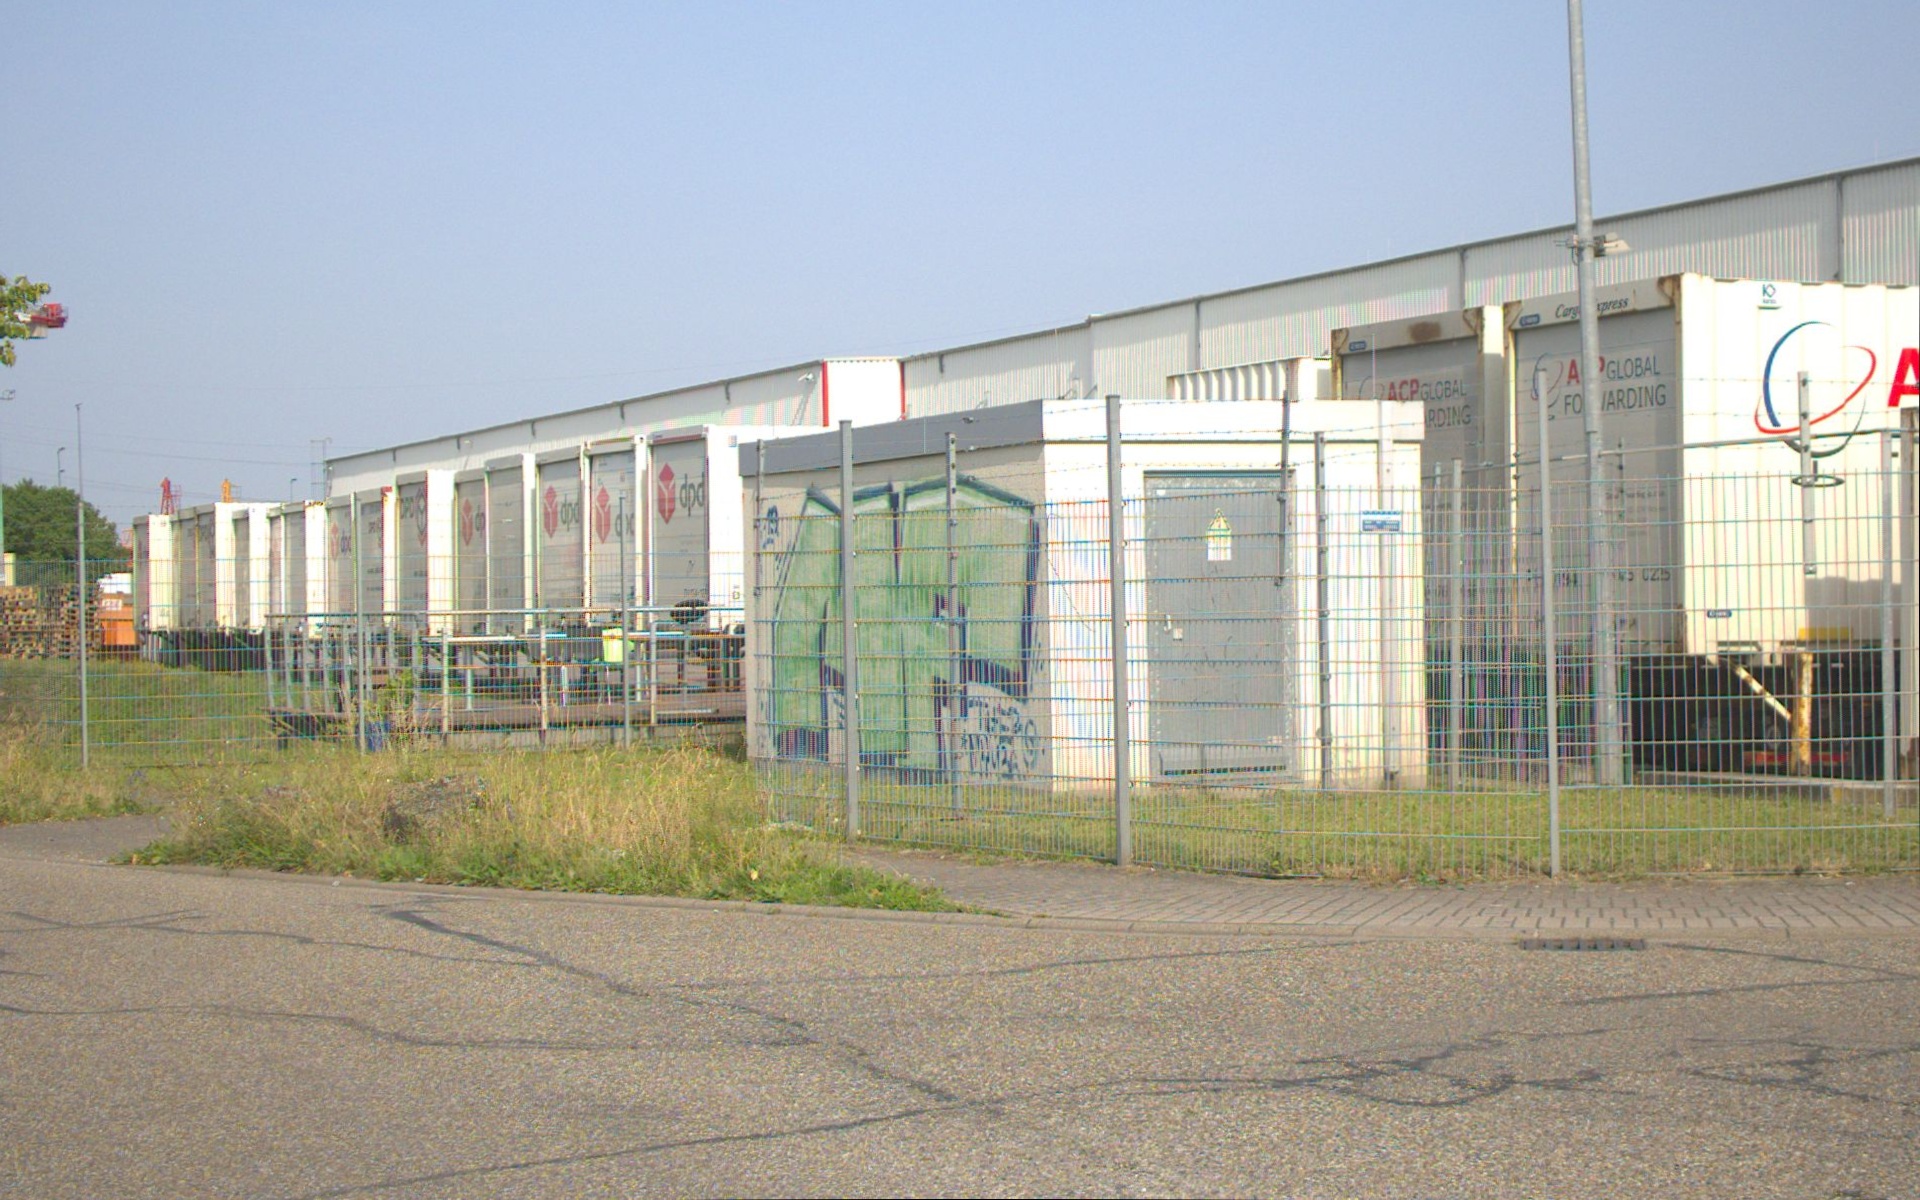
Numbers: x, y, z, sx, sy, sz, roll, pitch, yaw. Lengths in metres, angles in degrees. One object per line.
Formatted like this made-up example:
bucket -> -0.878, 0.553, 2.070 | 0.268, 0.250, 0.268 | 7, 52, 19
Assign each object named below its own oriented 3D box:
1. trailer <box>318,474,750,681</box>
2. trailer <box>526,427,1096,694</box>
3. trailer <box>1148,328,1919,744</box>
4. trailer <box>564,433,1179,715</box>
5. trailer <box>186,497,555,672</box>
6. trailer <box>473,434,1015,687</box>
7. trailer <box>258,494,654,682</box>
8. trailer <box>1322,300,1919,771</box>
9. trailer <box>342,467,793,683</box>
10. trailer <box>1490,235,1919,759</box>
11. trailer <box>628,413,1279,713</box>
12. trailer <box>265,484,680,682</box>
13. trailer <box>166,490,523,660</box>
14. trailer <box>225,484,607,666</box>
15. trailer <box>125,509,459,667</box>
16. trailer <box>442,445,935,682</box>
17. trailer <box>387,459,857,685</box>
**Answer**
trailer -> -8.410, -0.406, 68.026 | 7.960, 3.880, 2.776 | 1, 0, -24
trailer -> -2.268, -0.544, 53.197 | 8.305, 3.880, 2.776 | 1, 0, -24
trailer -> 6.406, -0.594, 33.975 | 8.730, 3.748, 2.791 | 0, -1, -24
trailer -> -1.255, -0.317, 50.359 | 8.534, 3.880, 2.776 | 1, 0, -24
trailer -> -13.695, -0.329, 80.001 | 7.960, 3.880, 2.776 | 1, 0, -24
trailer -> -3.486, -0.580, 56.009 | 8.305, 3.880, 2.776 | 1, 0, -24
trailer -> -10.864, -0.225, 74.264 | 7.960, 3.880, 2.776 | 1, 0, -24
trailer -> 7.782, -0.660, 31.235 | 8.534, 3.880, 2.776 | -2, 0, -22
trailer -> -7.412, -0.424, 65.167 | 7.960, 3.880, 2.776 | 1, 0, -24
trailer -> 8.862, -0.773, 28.266 | 8.534, 3.881, 2.776 | -1, -2, -22
trailer -> -0.043, -0.431, 47.485 | 8.534, 3.880, 2.776 | 1, 0, -24
trailer -> -10.025, -0.317, 70.845 | 7.960, 3.880, 2.776 | 1, 0, -24
trailer -> -14.803, -0.563, 82.778 | 7.960, 3.880, 2.776 | 1, 0, -24
trailer -> -12.176, -0.525, 77.046 | 7.960, 3.880, 2.776 | 1, 0, -24
trailer -> -17.139, -0.276, 88.285 | 7.960, 3.880, 2.743 | 1, 0, -24
trailer -> -4.699, -0.574, 59.802 | 8.031, 3.880, 2.776 | 1, 0, -24
trailer -> -6.120, -0.458, 62.437 | 7.960, 3.880, 2.776 | 1, 0, -24
